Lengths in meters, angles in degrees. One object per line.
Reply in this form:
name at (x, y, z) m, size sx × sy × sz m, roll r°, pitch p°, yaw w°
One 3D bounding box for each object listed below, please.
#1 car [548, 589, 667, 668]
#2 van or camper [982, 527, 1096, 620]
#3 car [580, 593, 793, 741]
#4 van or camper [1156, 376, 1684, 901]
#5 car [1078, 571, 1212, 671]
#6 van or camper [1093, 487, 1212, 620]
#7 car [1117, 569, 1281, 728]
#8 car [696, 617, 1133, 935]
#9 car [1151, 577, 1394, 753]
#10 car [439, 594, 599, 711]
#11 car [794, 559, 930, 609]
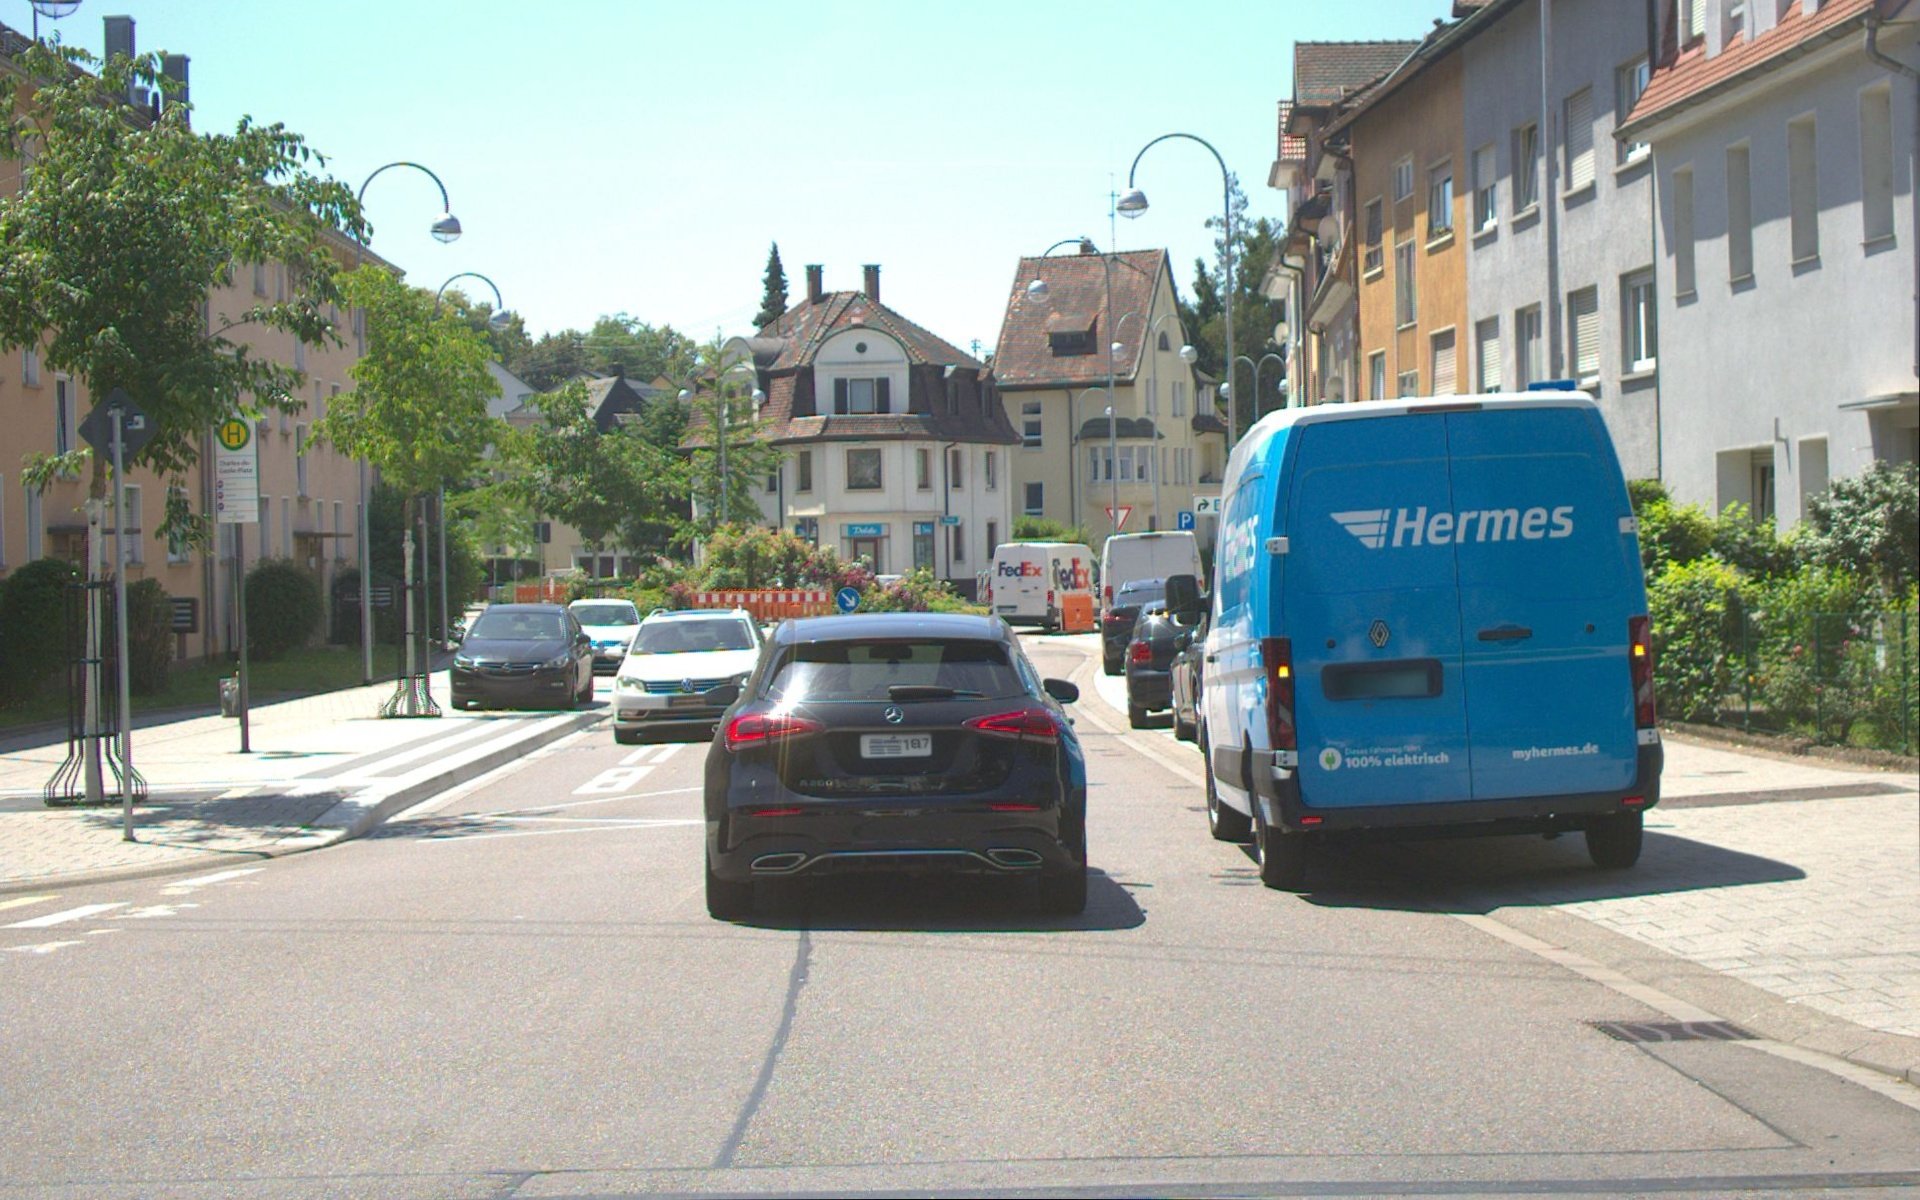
car at (-6.801, 0.525, 66.748) m, size 1.993 × 1.415 × 4.089 m, roll -1°, pitch 1°, yaw -2°
van or camper at (2.298, -0.769, 98.732) m, size 2.207 × 2.602 × 3.997 m, roll 0°, pitch 1°, yaw 18°
car at (-3.088, 0.723, 39.670) m, size 1.993 × 1.502 × 4.288 m, roll -1°, pitch 1°, yaw 1°
van or camper at (2.419, 0.189, 19.856) m, size 2.108 × 2.459 × 6.176 m, roll -3°, pitch 0°, yaw 0°
car at (3.286, 0.336, 60.435) m, size 1.896 × 1.602 × 4.363 m, roll -3°, pitch 0°, yaw 8°
van or camper at (3.975, -0.976, 71.936) m, size 2.165 × 2.580 × 5.766 m, roll -2°, pitch 1°, yaw 1°
car at (2.778, 0.524, 40.353) m, size 1.728 × 1.627 × 4.000 m, roll -4°, pitch 1°, yaw 3°
car at (-0.206, 0.803, 17.392) m, size 1.953 × 1.422 × 4.000 m, roll 0°, pitch 0°, yaw 0°
car at (3.027, 0.588, 34.200) m, size 1.803 × 1.470 × 4.721 m, roll -4°, pitch 1°, yaw -1°
car at (-6.371, 0.722, 50.042) m, size 1.857 × 1.501 × 4.563 m, roll -1°, pitch 1°, yaw -2°
car at (-3.031, -0.505, 106.876) m, size 3.988 × 1.481 × 1.968 m, roll 1°, pitch 1°, yaw 5°
